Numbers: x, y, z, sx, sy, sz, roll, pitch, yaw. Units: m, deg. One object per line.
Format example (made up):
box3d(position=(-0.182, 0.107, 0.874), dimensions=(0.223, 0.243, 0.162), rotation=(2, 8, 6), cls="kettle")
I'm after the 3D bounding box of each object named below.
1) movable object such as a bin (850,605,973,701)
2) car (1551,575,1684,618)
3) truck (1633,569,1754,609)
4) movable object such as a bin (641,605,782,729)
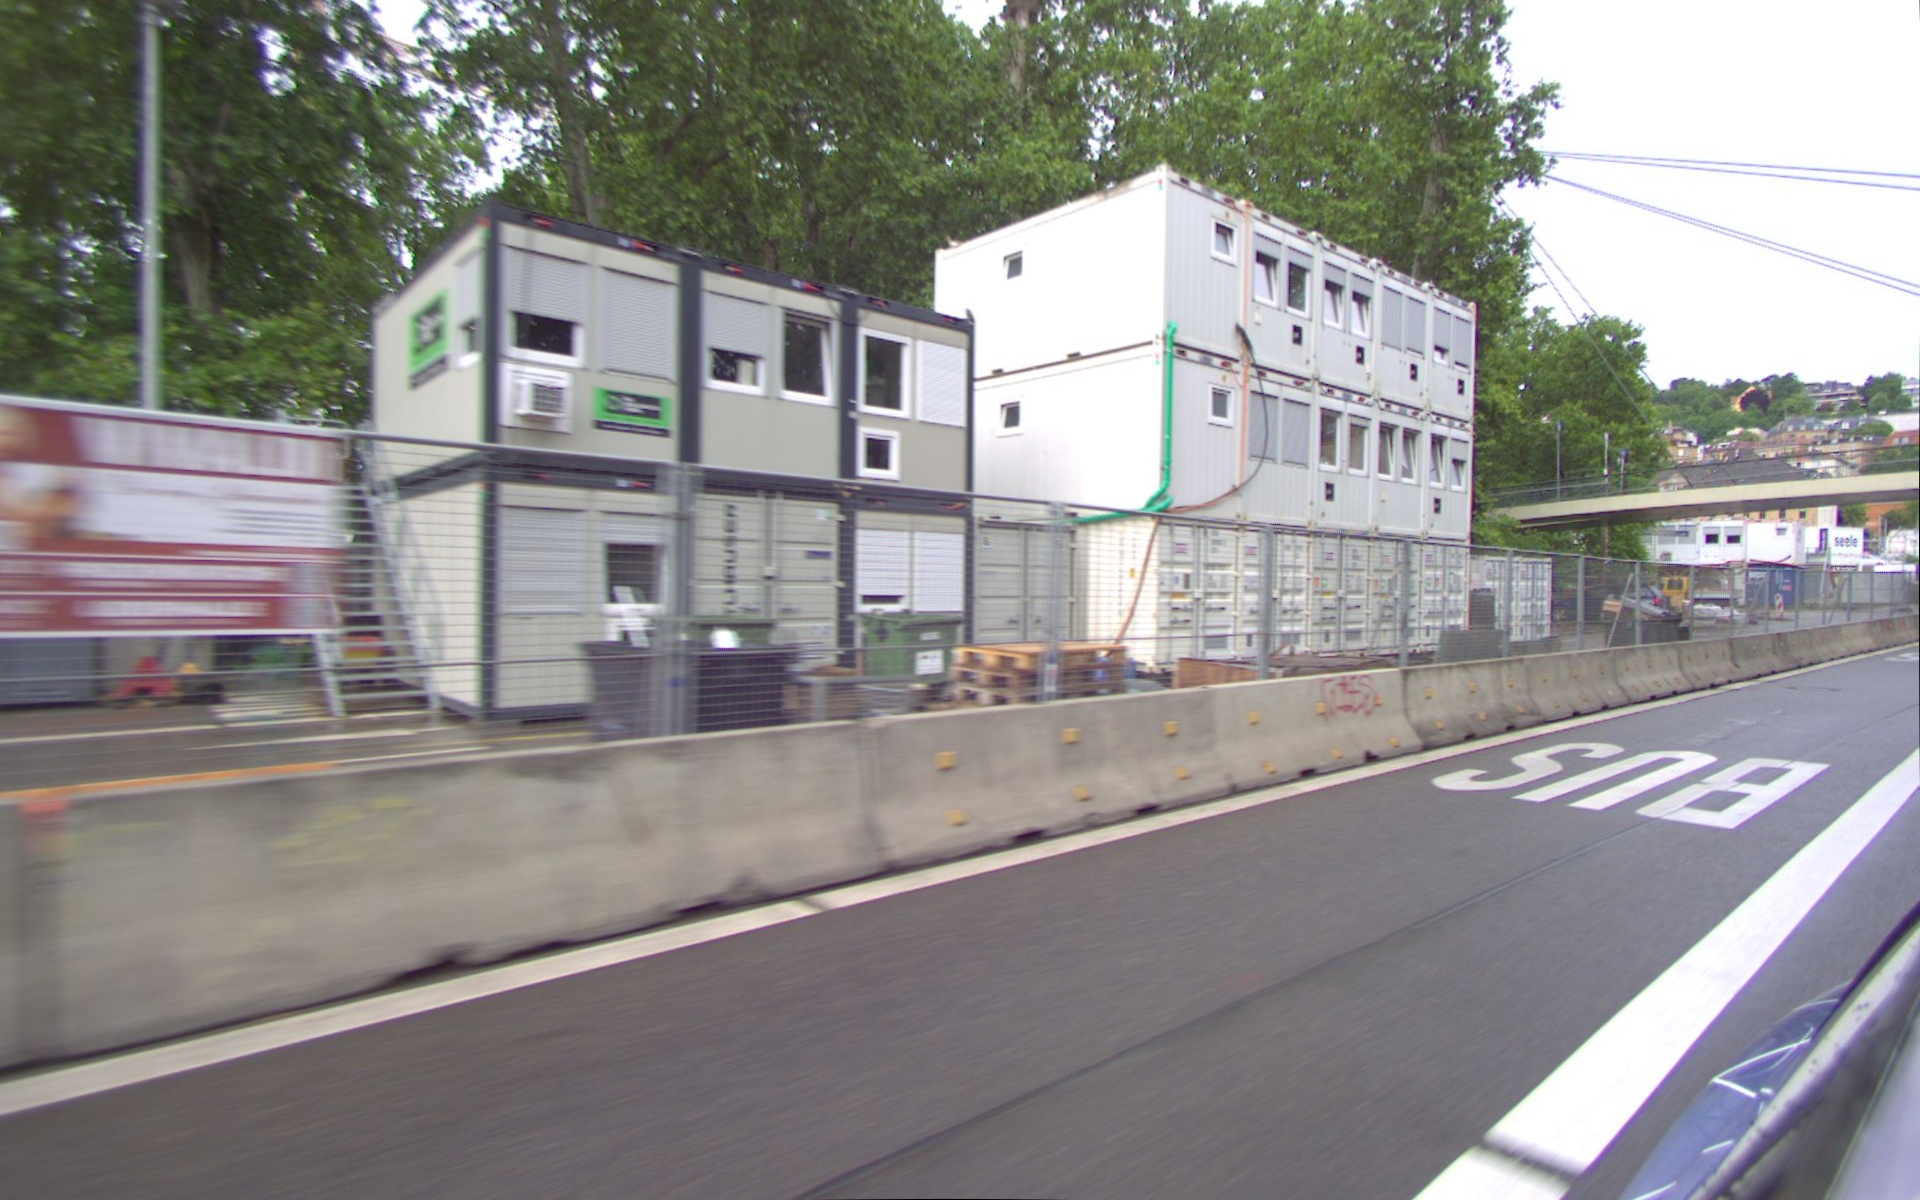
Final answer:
box3d(position=(-0.688, 0.708, 14.211), dimensions=(1.218, 1.136, 1.249), rotation=(-3, 5, -40), cls="movable object such as a bin")
box3d(position=(28.300, -0.191, 43.677), dimensions=(1.967, 1.749, 4.502), rotation=(-2, 2, -44), cls="car")
box3d(position=(40.498, -0.670, 55.952), dimensions=(5.156, 2.038, 2.372), rotation=(2, 4, 45), cls="truck")
box3d(position=(-2.988, 0.756, 12.146), dimensions=(1.218, 1.251, 1.249), rotation=(-3, 5, -40), cls="movable object such as a bin")
